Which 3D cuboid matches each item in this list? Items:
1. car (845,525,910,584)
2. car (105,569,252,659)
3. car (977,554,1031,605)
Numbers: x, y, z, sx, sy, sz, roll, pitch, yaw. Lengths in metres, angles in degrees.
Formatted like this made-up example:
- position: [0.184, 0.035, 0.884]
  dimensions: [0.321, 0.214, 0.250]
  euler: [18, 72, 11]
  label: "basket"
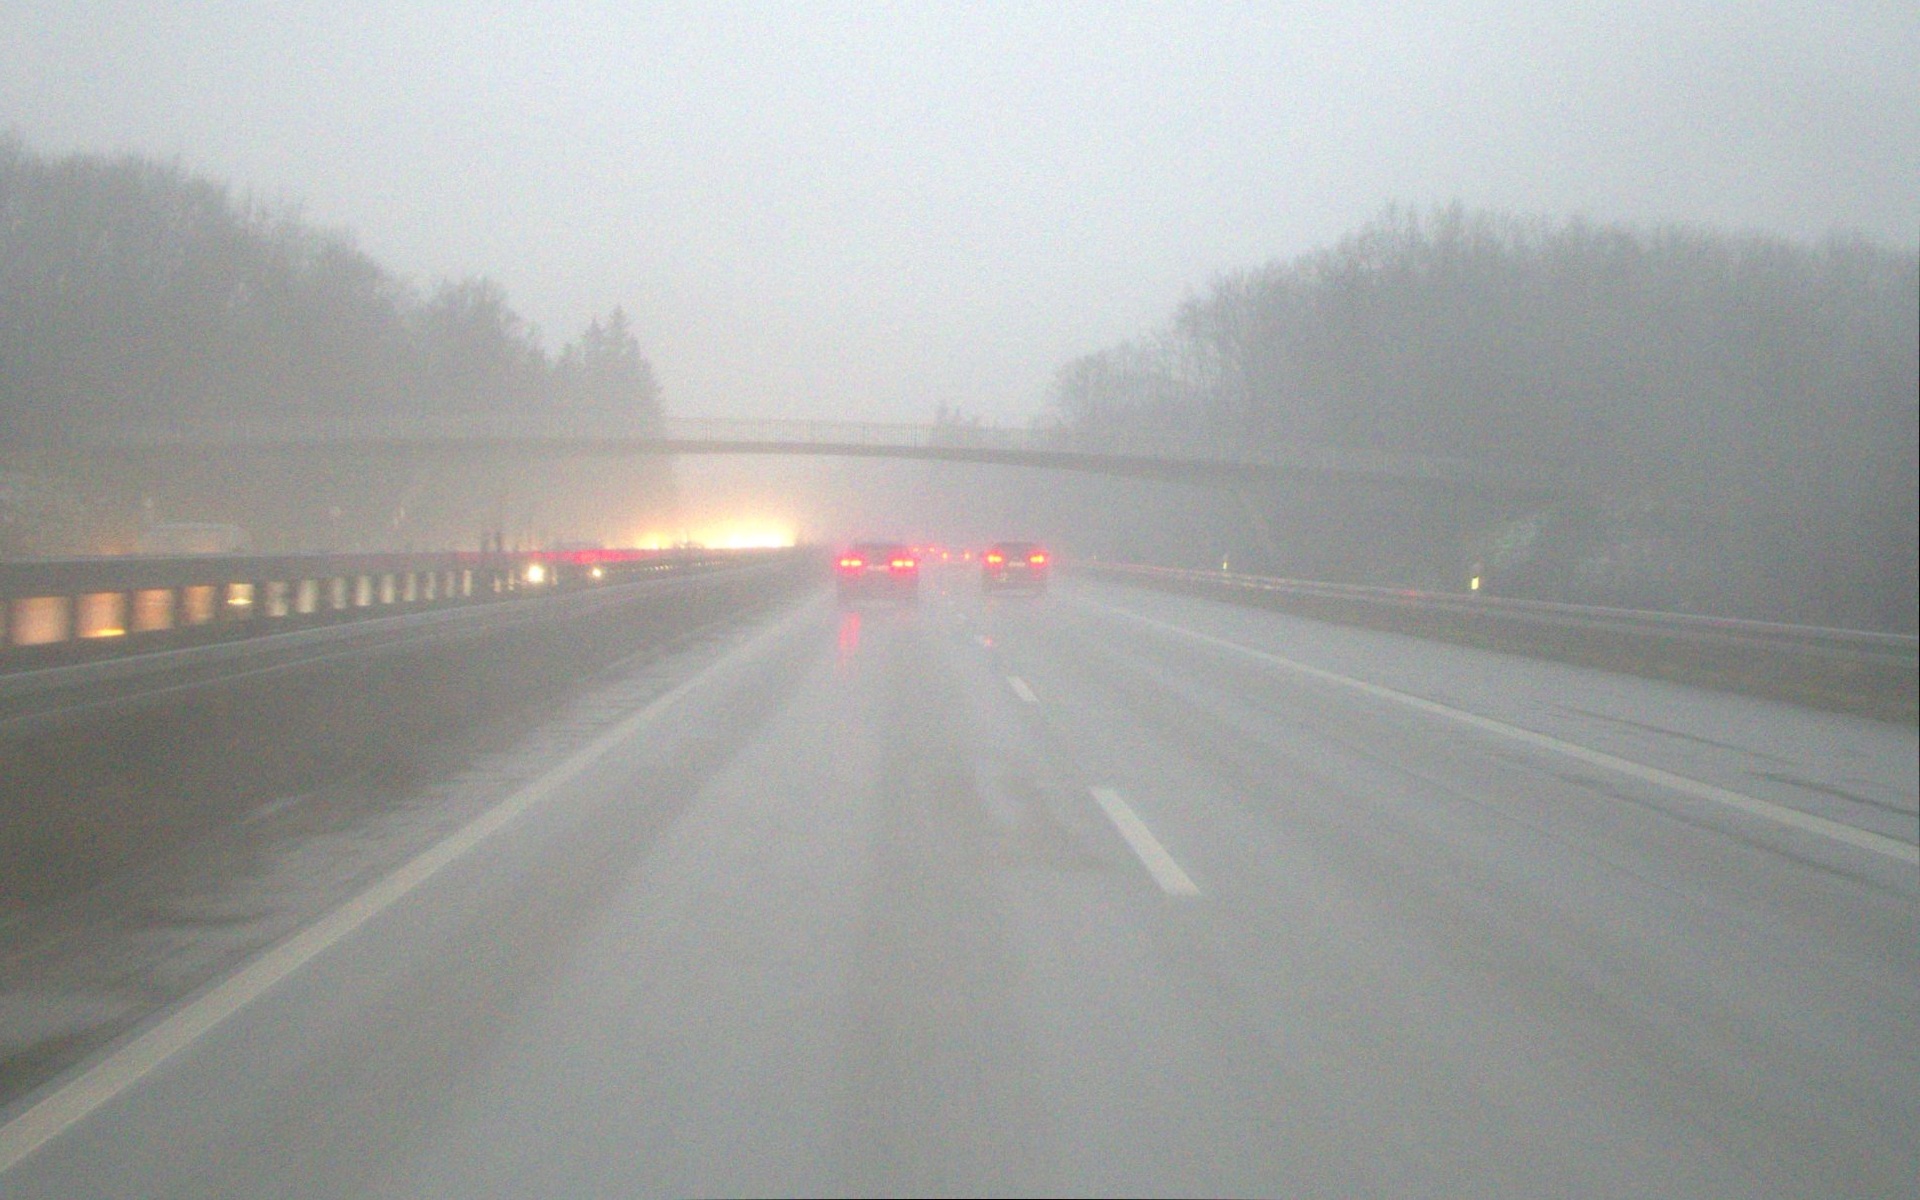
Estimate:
- position: [-1.910, -1.057, 80.081]
  dimensions: [1.454, 1.339, 3.490]
  euler: [1, 1, -1]
  label: "car"
- position: [-12.678, 0.205, 55.937]
  dimensions: [1.498, 1.392, 4.054]
  euler: [0, 1, 0]
  label: "car"
- position: [1.294, -0.621, 101.709]
  dimensions: [1.454, 1.424, 3.490]
  euler: [2, 1, -1]
  label: "car"
